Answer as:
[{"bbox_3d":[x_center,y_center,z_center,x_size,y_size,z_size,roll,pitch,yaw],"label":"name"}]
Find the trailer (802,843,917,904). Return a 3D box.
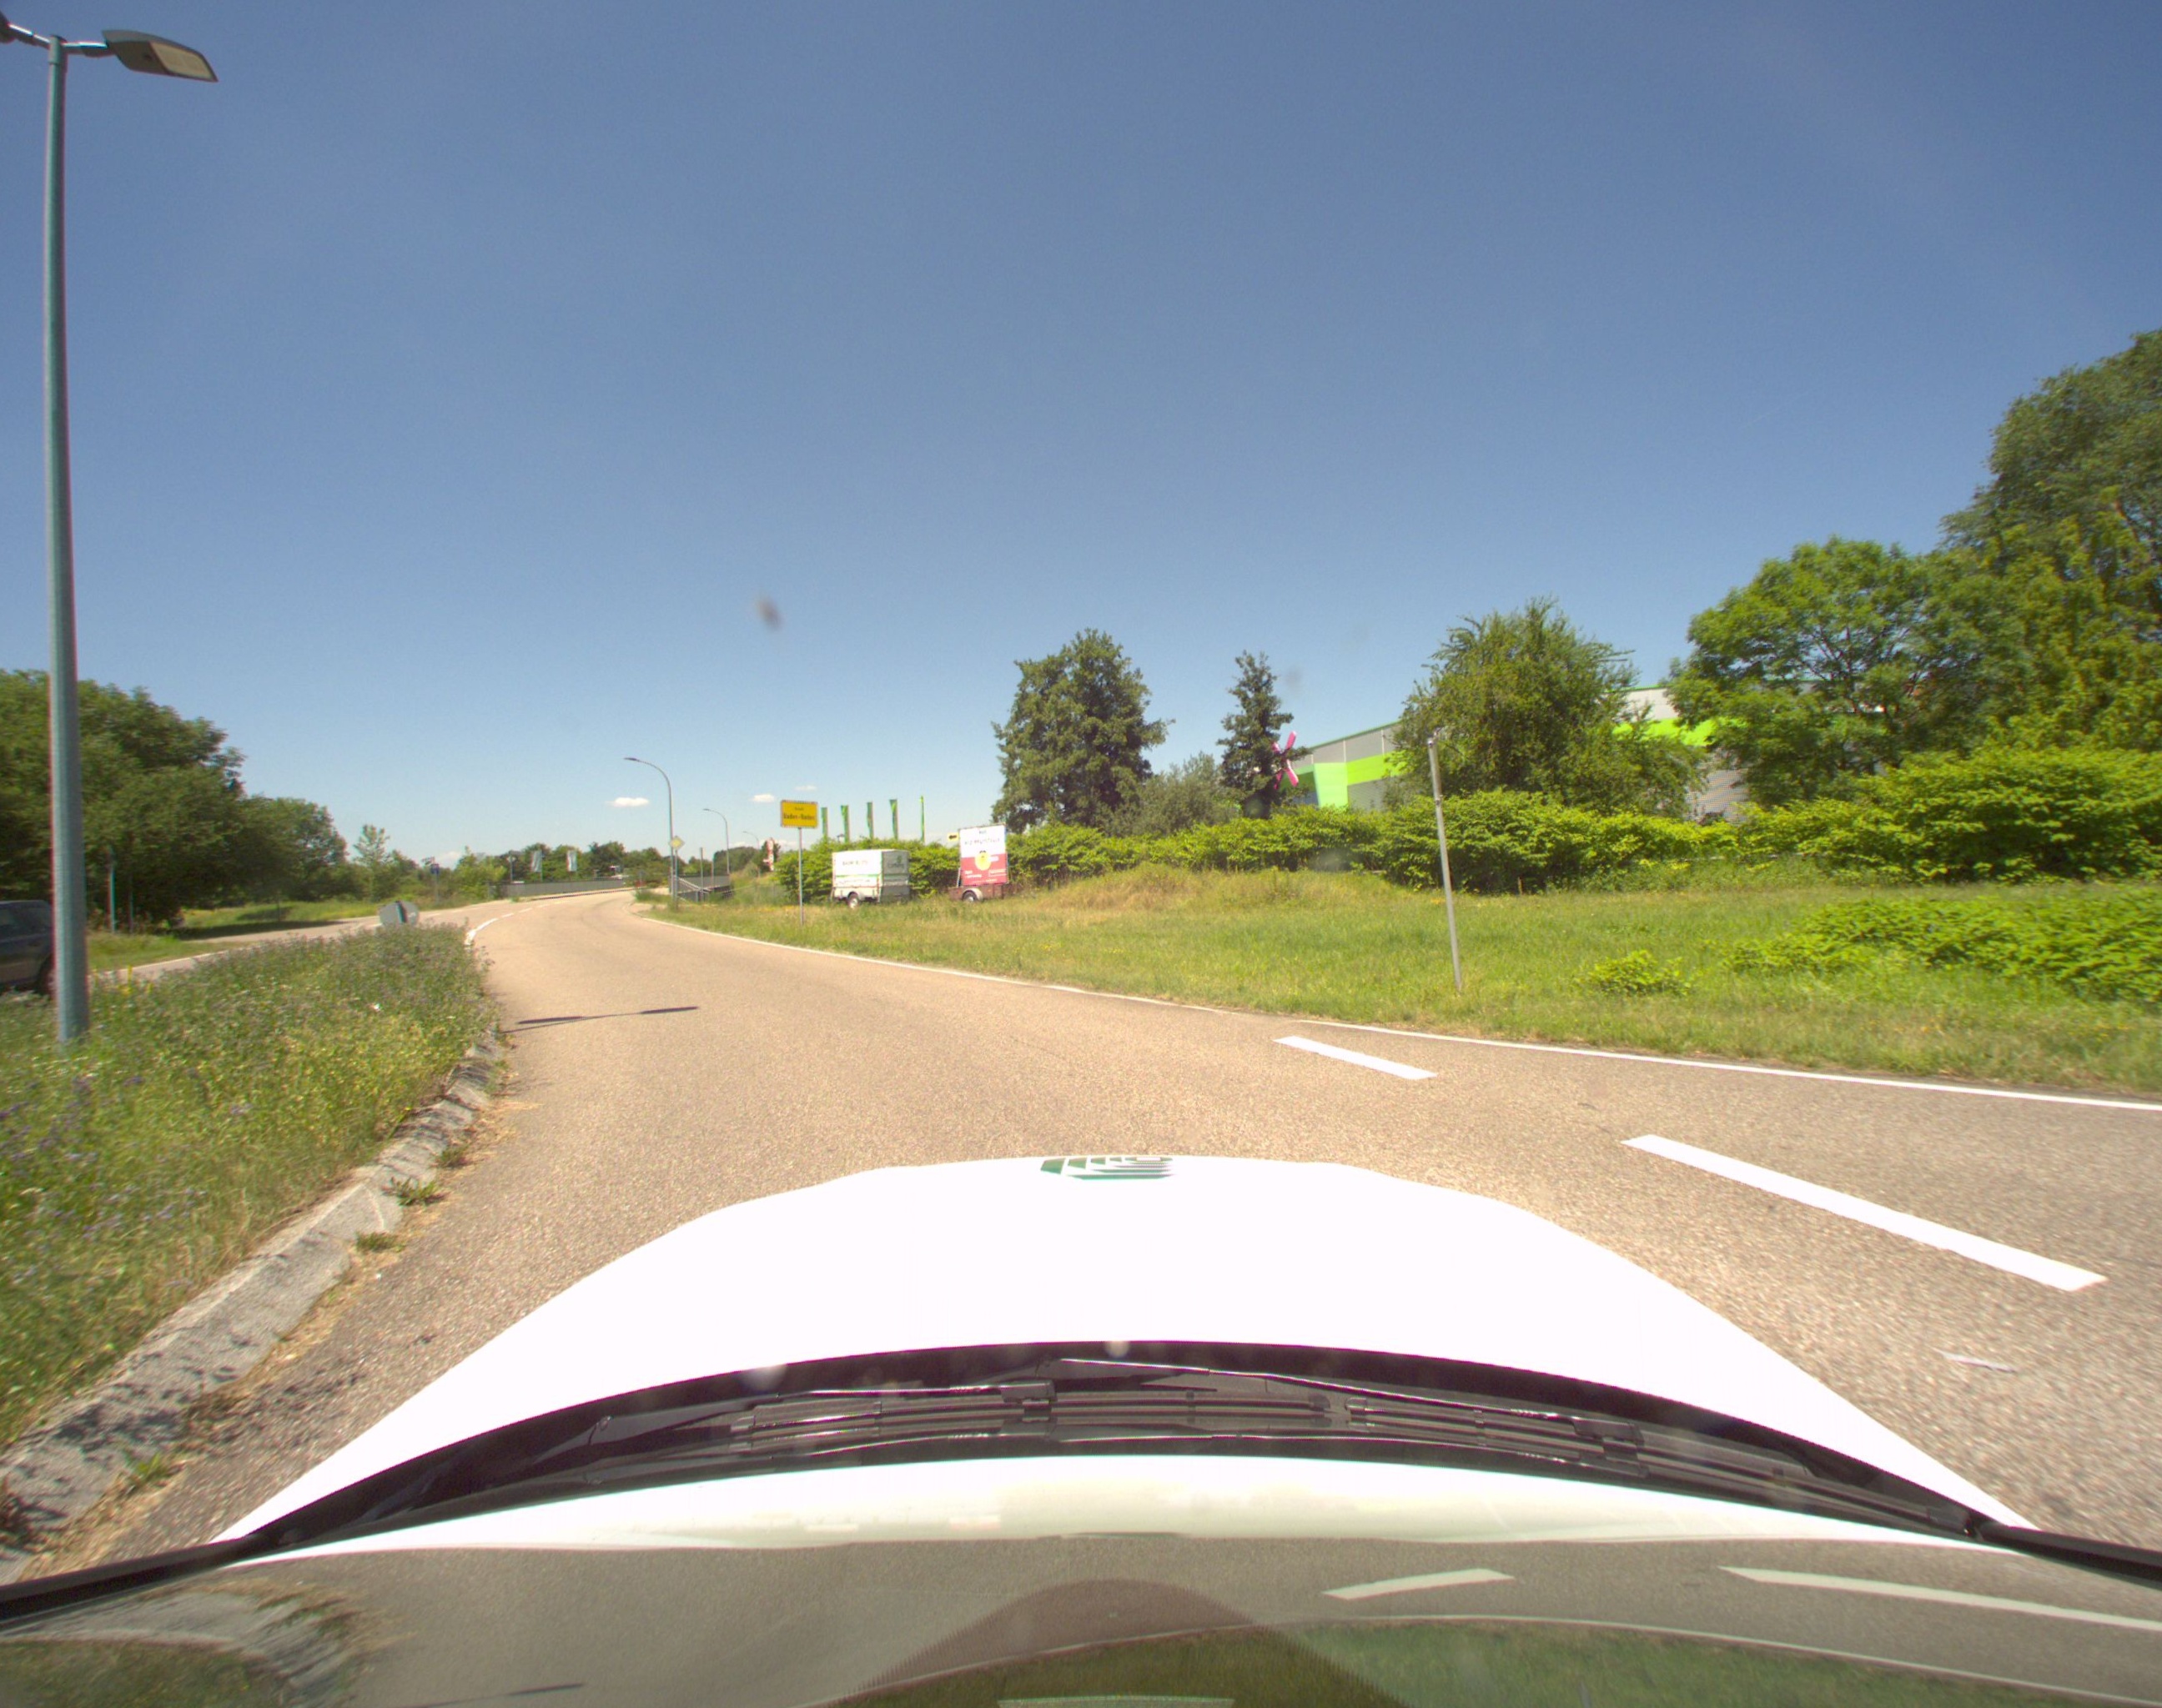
[{"bbox_3d":[-8.271,0.742,30.321,3.918,2.078,1.863,-3,-1,31],"label":"trailer"}]

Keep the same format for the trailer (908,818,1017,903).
[{"bbox_3d":[-4.052,0.235,27.806,3.107,2.670,1.863,-3,-1,31],"label":"trailer"}]

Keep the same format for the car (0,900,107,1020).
[{"bbox_3d":[-17.171,1.719,11.752,2.002,1.721,4.450,-5,1,-22],"label":"car"}]
